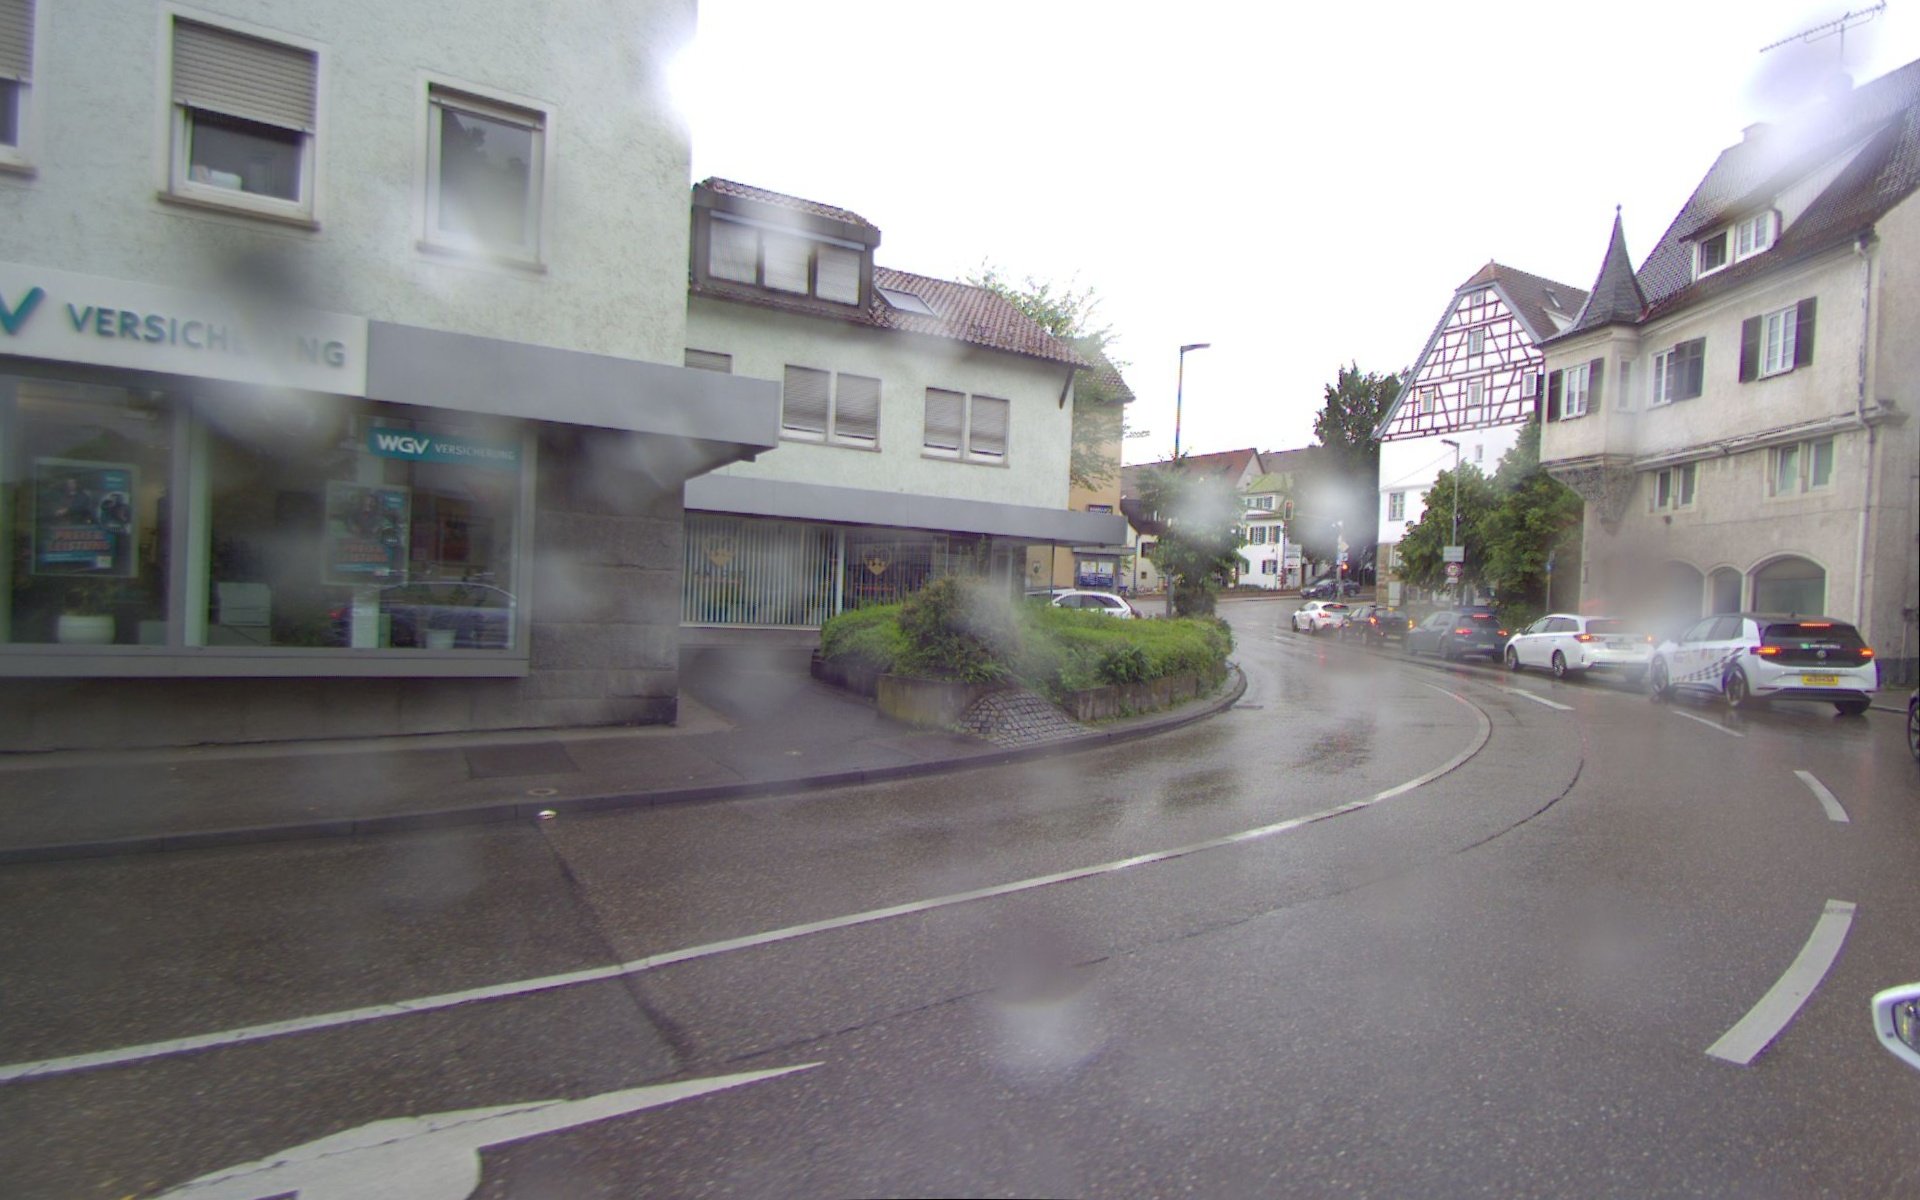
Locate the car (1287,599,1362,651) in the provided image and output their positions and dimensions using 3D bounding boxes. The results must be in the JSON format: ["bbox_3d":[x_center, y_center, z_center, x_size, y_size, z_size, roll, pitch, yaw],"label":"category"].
[{"bbox_3d":[15.981,1.045,44.246,1.940,2.118,3.961,0,1,2],"label":"car"}]

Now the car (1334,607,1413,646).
[{"bbox_3d":[15.416,0.958,37.604,1.634,1.330,3.625,0,1,4],"label":"car"}]

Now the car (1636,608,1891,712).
[{"bbox_3d":[13.567,0.920,17.314,1.758,1.537,4.243,0,0,13],"label":"car"}]

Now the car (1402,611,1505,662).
[{"bbox_3d":[15.102,1.067,30.949,1.493,1.380,3.768,0,1,4],"label":"car"}]

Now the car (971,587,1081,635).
[{"bbox_3d":[2.327,0.392,35.590,3.481,1.597,1.706,1,1,-18],"label":"car"}]

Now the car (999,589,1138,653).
[{"bbox_3d":[3.017,0.573,28.112,3.481,1.708,1.706,1,1,-18],"label":"car"}]

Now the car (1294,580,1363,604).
[{"bbox_3d":[26.522,-0.583,72.345,4.457,1.409,1.644,2,7,-18],"label":"car"}]

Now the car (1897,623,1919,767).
[{"bbox_3d":[10.142,1.018,9.103,1.708,1.470,4.228,1,1,34],"label":"car"}]

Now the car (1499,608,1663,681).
[{"bbox_3d":[14.534,0.972,23.786,1.755,1.485,4.166,0,1,8],"label":"car"}]

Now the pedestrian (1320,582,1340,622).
[{"bbox_3d":[22.411,0.115,60.868,0.850,2.357,1.231,2,0,9],"label":"pedestrian"}]
